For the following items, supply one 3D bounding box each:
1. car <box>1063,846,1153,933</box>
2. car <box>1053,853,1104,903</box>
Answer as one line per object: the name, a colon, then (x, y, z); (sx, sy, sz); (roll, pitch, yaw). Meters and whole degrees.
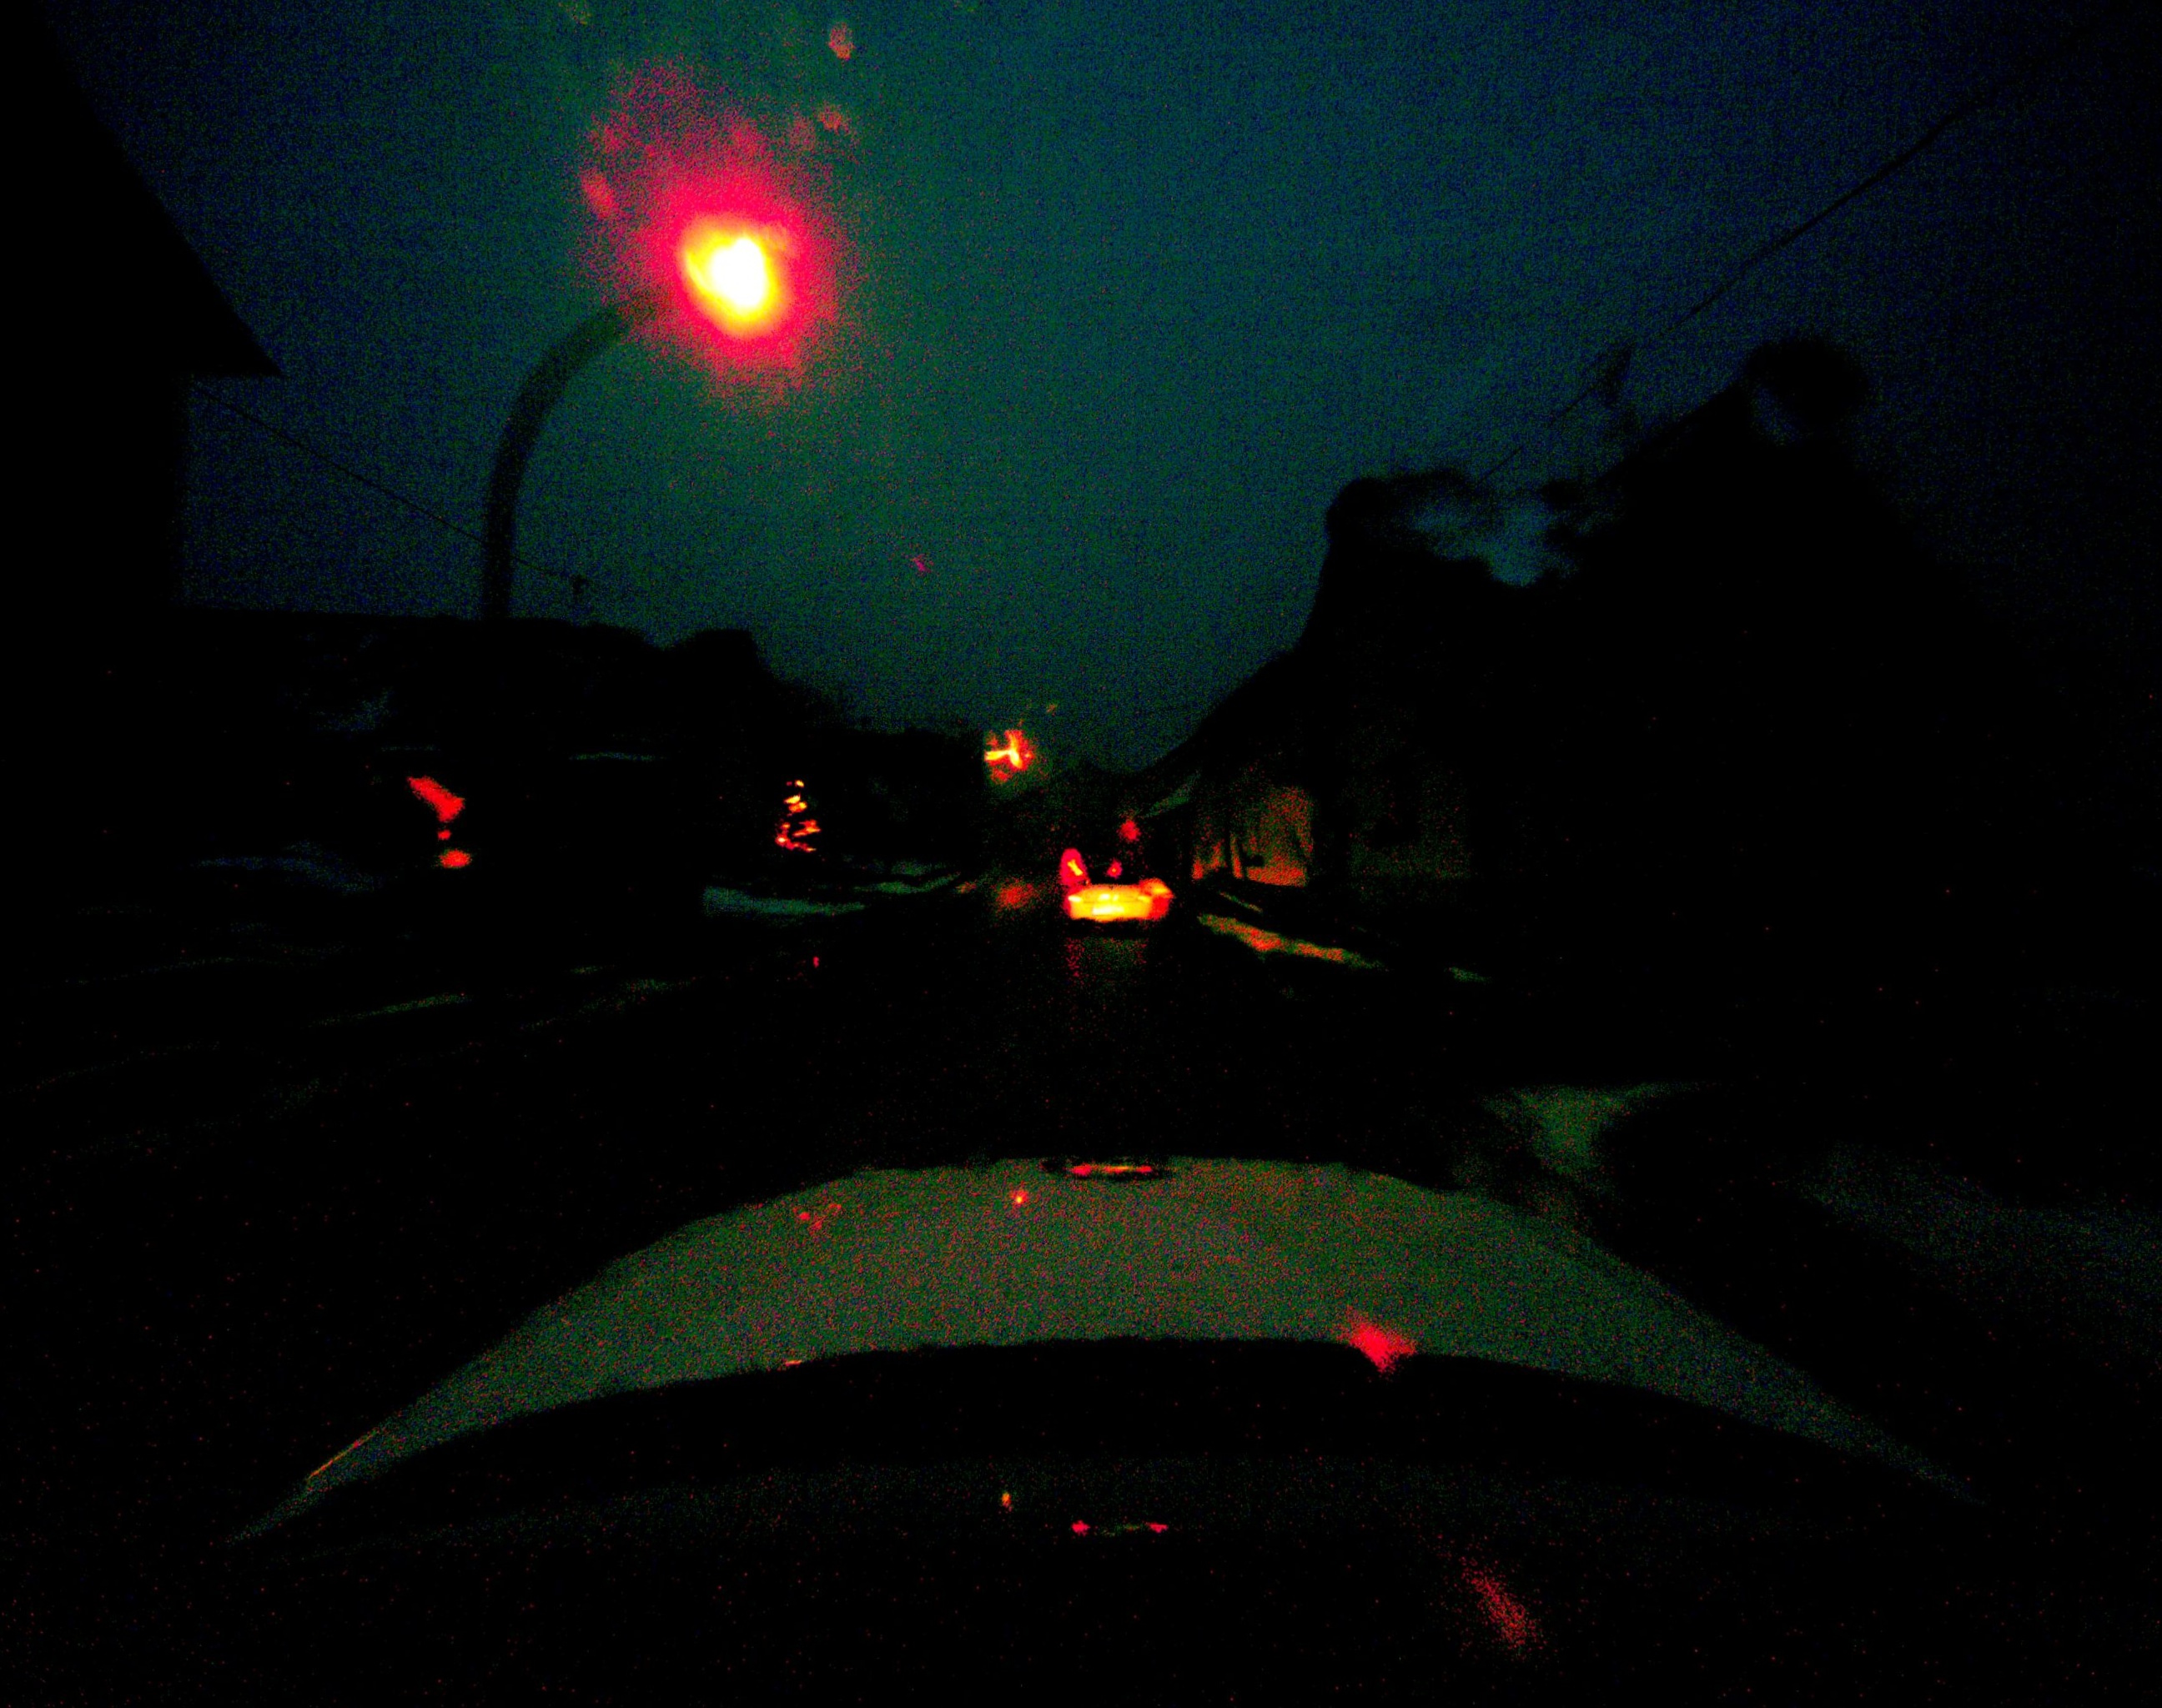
car: (0.470, 0.692, 17.085); (1.641, 1.596, 3.697); (1, -1, -1)
car: (-0.144, 0.826, 28.894); (1.641, 1.596, 3.695); (1, -1, -3)
